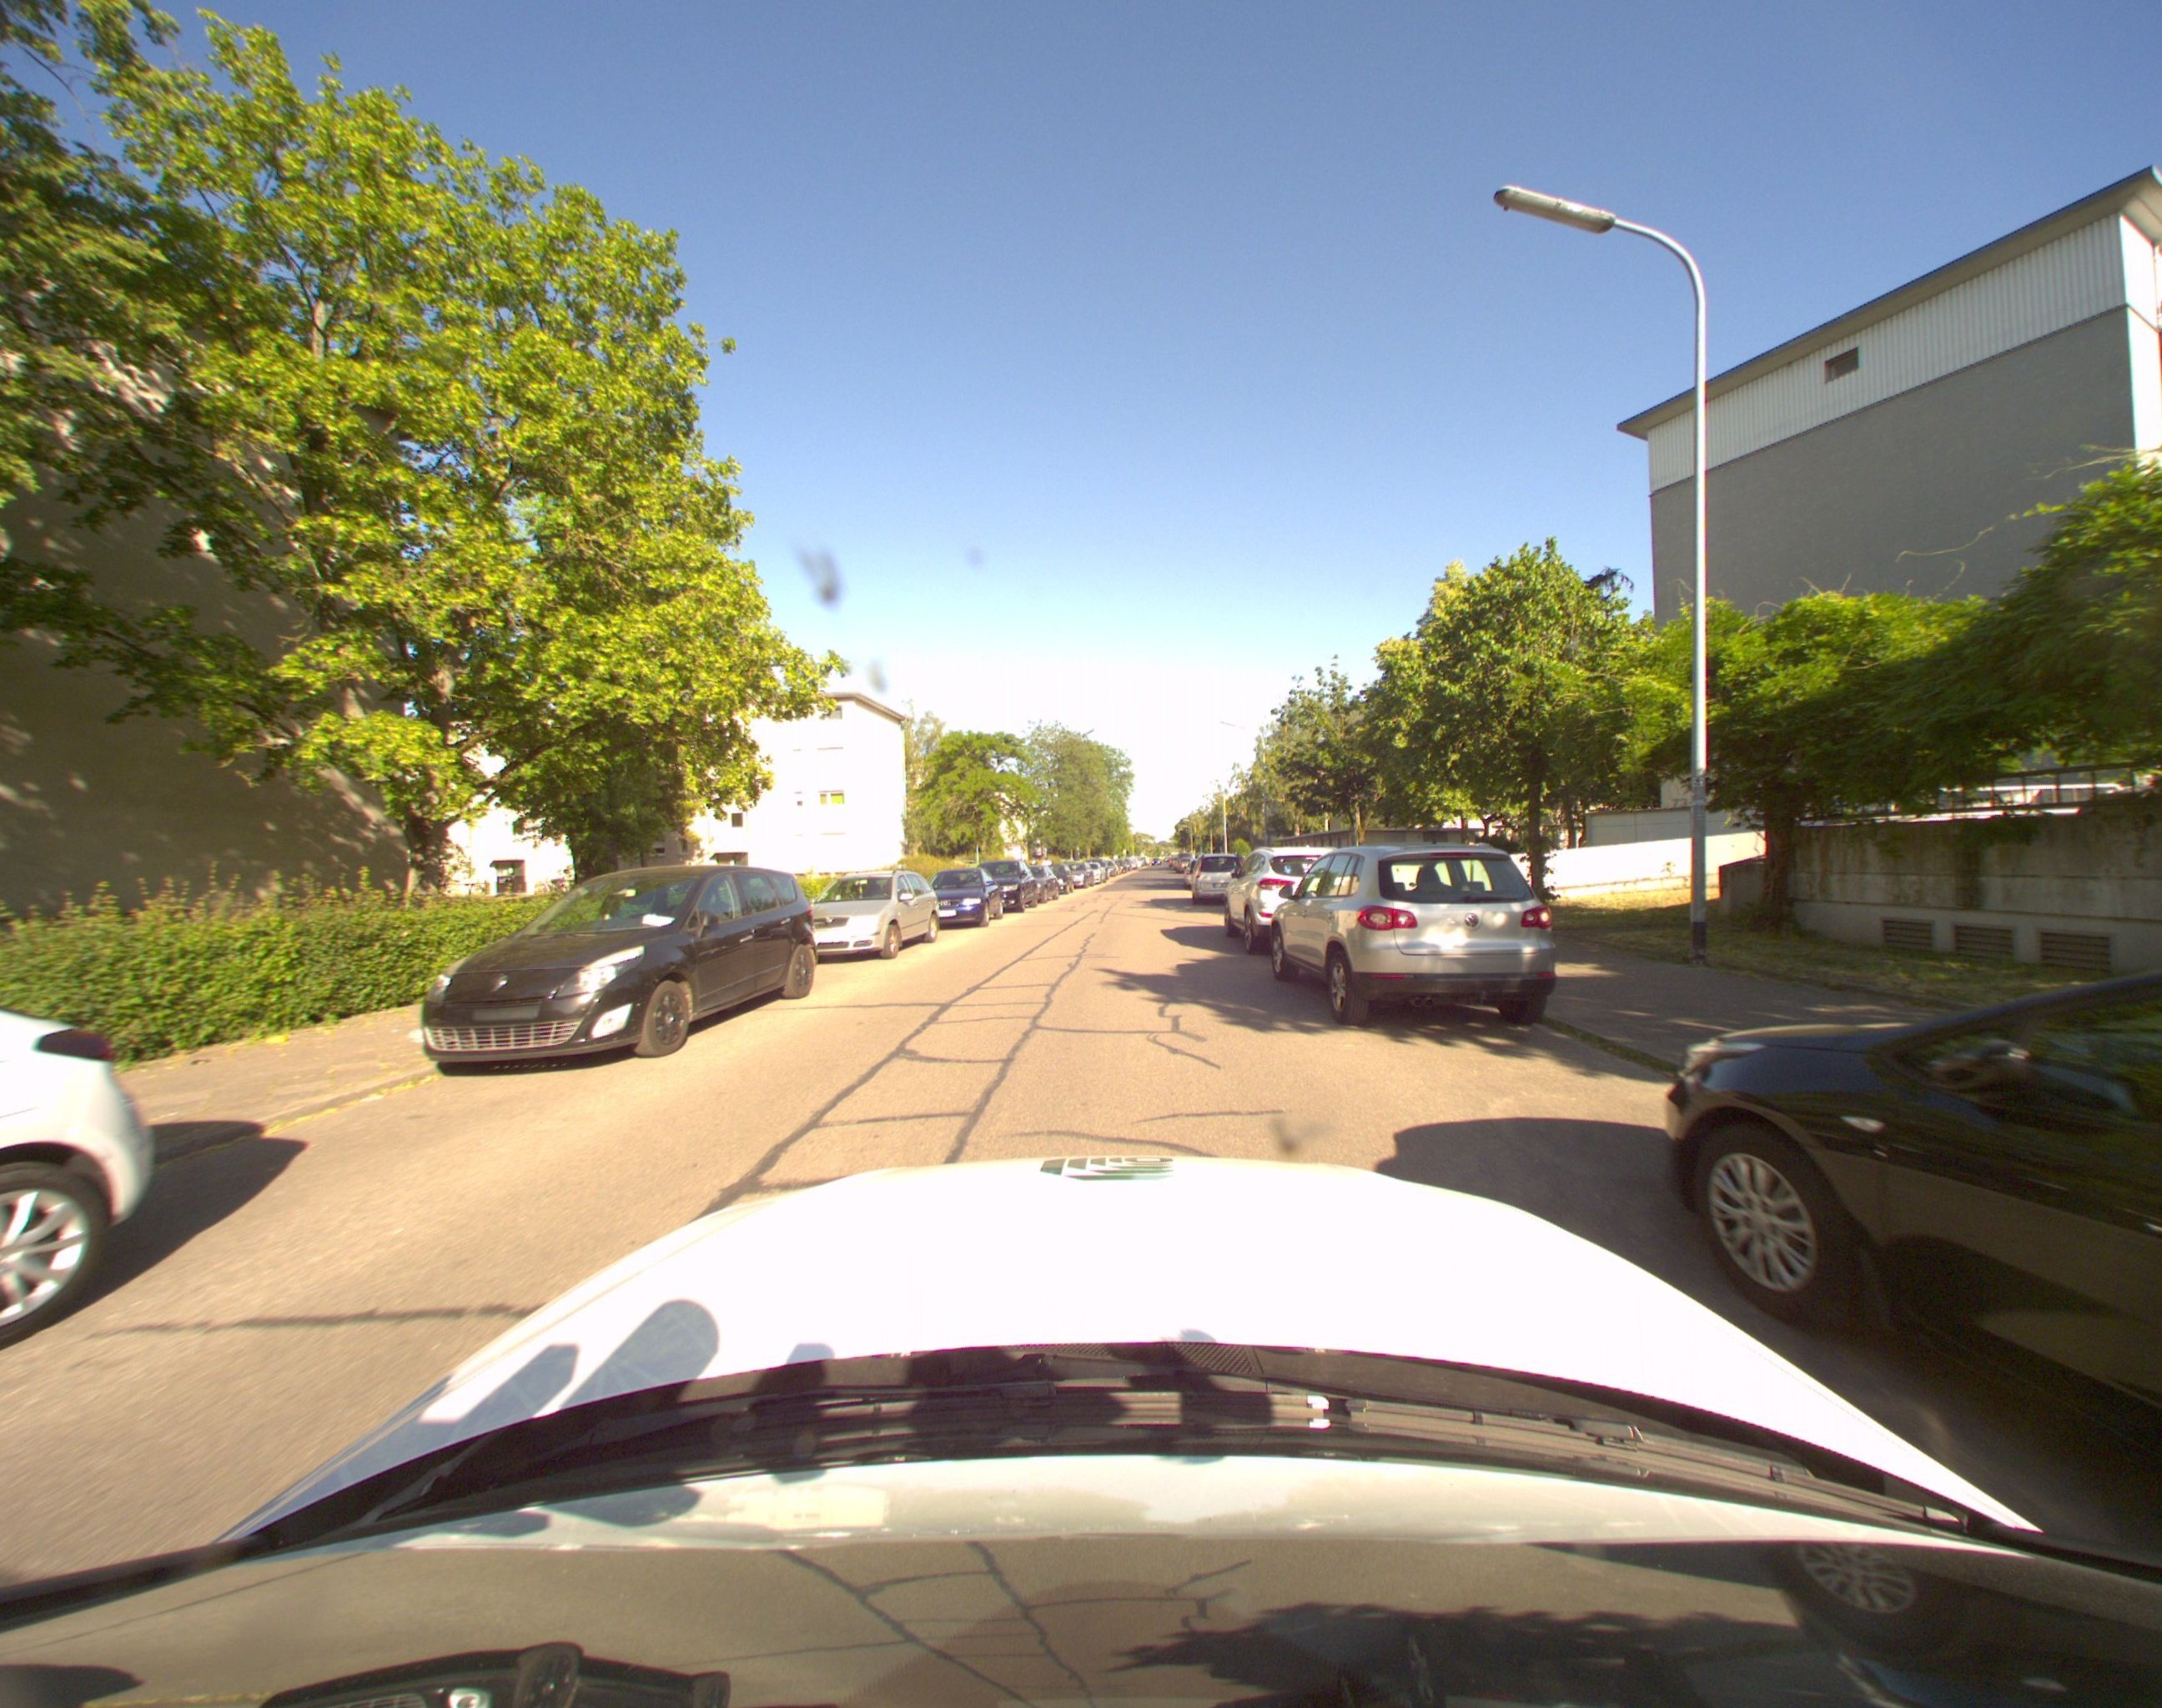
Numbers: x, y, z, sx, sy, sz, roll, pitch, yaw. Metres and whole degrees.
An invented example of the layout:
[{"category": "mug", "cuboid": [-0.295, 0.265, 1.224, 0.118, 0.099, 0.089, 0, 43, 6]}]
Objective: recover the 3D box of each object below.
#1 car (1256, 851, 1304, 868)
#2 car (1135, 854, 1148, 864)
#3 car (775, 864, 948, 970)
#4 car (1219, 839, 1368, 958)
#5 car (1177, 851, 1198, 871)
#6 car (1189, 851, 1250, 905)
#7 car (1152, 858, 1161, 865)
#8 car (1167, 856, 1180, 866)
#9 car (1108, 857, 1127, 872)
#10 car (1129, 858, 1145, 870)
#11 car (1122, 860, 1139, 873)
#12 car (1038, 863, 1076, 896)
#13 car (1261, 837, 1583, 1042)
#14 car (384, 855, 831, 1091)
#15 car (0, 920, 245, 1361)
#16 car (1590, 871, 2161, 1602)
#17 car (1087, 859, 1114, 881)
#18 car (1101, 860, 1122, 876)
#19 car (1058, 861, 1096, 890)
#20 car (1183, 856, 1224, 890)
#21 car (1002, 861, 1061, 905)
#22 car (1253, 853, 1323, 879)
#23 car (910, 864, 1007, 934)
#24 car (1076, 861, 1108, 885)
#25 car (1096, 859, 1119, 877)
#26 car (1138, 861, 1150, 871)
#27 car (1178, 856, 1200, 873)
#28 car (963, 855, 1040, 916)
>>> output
[{"category": "car", "cuboid": [19.035, 0.556, 77.984, 4.197, 1.530, 1.833, -1, -3, 6]}, {"category": "car", "cuboid": [9.827, 0.840, 133.115, 1.814, 1.466, 4.243, -1, 1, 8]}, {"category": "car", "cuboid": [-3.740, 1.008, 14.650, 1.652, 1.486, 4.057, -4, 0, 4]}, {"category": "car", "cuboid": [3.430, 0.655, 13.898, 1.646, 1.698, 4.237, -1, 0, 3]}, {"category": "car", "cuboid": [10.506, 0.678, 80.551, 1.815, 1.802, 4.240, -1, 1, 5]}, {"category": "car", "cuboid": [4.523, 0.737, 27.102, 1.689, 1.641, 4.240, -1, 0, 5]}, {"category": "car", "cuboid": [15.325, 1.491, 165.260, 1.935, 1.289, 4.240, -1, 1, 5]}, {"category": "car", "cuboid": [14.094, 1.075, 123.479, 1.814, 1.325, 4.243, -1, 1, 8]}, {"category": "car", "cuboid": [3.737, 1.070, 82.872, 1.501, 1.329, 3.475, -4, 0, 8]}, {"category": "car", "cuboid": [7.570, 1.307, 110.302, 1.814, 1.466, 4.243, -1, 1, 8]}, {"category": "car", "cuboid": [6.089, 1.524, 99.786, 1.814, 1.466, 4.243, -1, 1, 8]}, {"category": "car", "cuboid": [-1.123, 1.176, 38.992, 1.382, 1.413, 3.129, -4, 0, 5]}, {"category": "car", "cuboid": [3.199, 0.692, 8.639, 1.723, 1.619, 4.235, -1, 0, 1]}, {"category": "car", "cuboid": [-4.197, 0.890, 8.238, 1.663, 1.666, 4.410, -3, 0, 3]}, {"category": "car", "cuboid": [-4.557, 1.035, 1.583, 1.663, 1.421, 3.904, -3, 0, 3]}, {"category": "car", "cuboid": [3.036, 0.788, 1.363, 1.676, 1.456, 4.290, 0, 0, 0]}, {"category": "car", "cuboid": [1.459, 1.142, 59.891, 1.501, 1.434, 3.475, -4, 0, 8]}, {"category": "car", "cuboid": [2.805, 1.269, 74.052, 1.501, 1.329, 3.475, -4, 0, 8]}, {"category": "car", "cuboid": [-0.207, 1.179, 45.910, 1.501, 1.451, 3.699, -4, 0, 8]}, {"category": "car", "cuboid": [5.971, 0.866, 39.494, 1.813, 1.466, 4.244, -3, 0, 9]}, {"category": "car", "cuboid": [-1.812, 1.072, 31.133, 1.652, 1.439, 3.764, -4, 0, 4]}, {"category": "car", "cuboid": [13.297, 0.755, 52.540, 4.197, 1.593, 1.834, -1, 0, 6]}, {"category": "car", "cuboid": [-2.936, 1.034, 20.315, 1.654, 1.426, 4.049, -4, 0, 1]}, {"category": "car", "cuboid": [0.712, 1.173, 52.077, 1.501, 1.364, 3.475, -4, 0, 8]}, {"category": "car", "cuboid": [2.255, 1.162, 68.195, 1.501, 1.381, 3.475, -4, 0, 8]}, {"category": "car", "cuboid": [10.885, 2.088, 141.347, 1.814, 1.466, 4.243, -1, 1, 8]}, {"category": "car", "cuboid": [9.862, 0.967, 74.787, 1.815, 1.466, 4.240, -1, 0, 5]}, {"category": "car", "cuboid": [-2.415, 0.923, 25.703, 1.652, 1.688, 4.054, -4, 0, 4]}]
